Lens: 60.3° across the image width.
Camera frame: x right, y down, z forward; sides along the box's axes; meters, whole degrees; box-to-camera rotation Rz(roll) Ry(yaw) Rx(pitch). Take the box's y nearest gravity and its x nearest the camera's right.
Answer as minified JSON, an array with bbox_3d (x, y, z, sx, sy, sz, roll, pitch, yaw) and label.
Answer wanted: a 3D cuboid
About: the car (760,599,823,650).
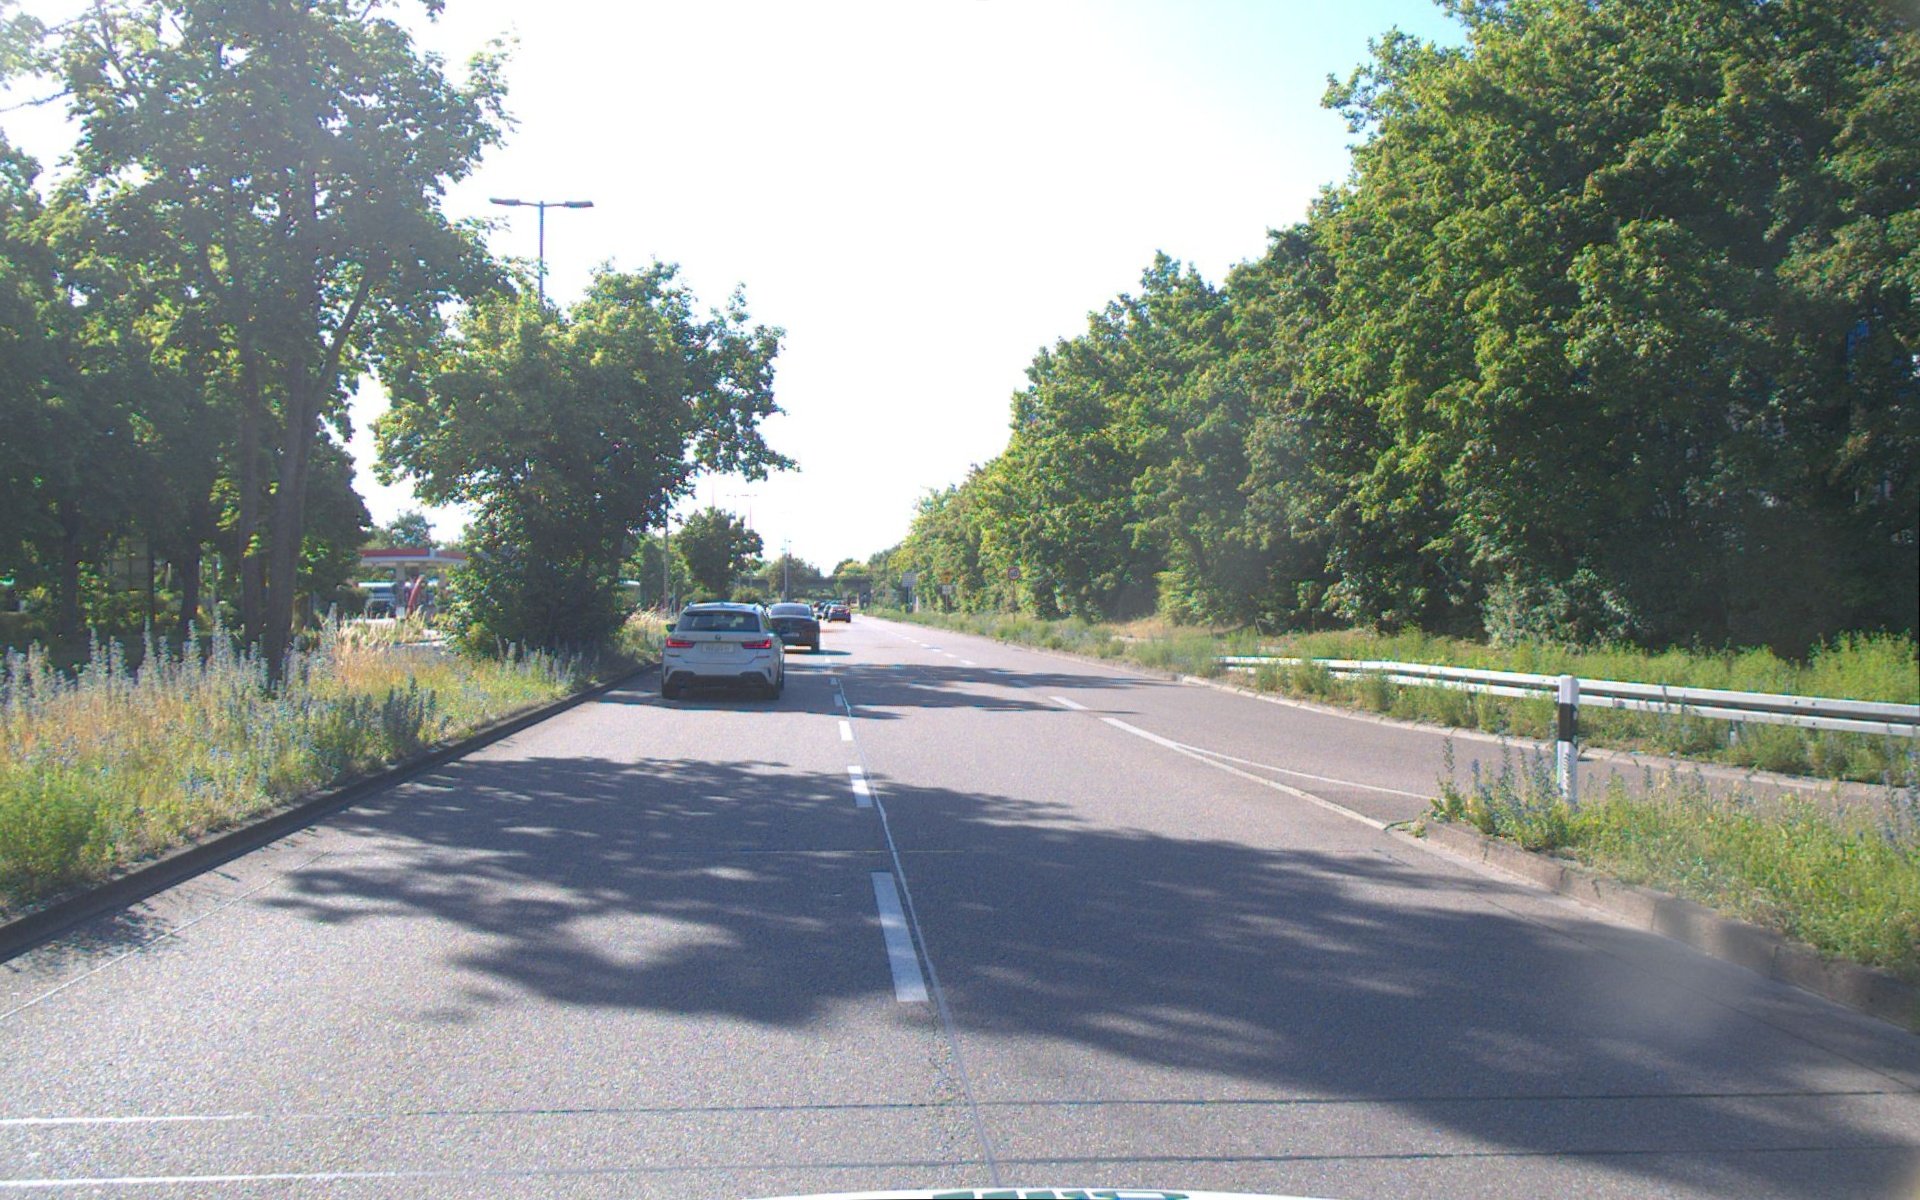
[{"bbox_3d":[-5.173,0.728,51.034,1.825,1.480,4.542,-1,0,-5],"label":"car"}]

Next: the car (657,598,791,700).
[{"bbox_3d":[-3.695,0.720,26.576,1.825,1.480,4.543,1,0,-5],"label":"car"}]

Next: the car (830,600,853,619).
[{"bbox_3d":[-9.873,0.786,137.797,1.825,1.525,4.331,0,0,-5],"label":"car"}]

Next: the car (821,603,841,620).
[{"bbox_3d":[-12.499,1.079,160.049,1.738,1.583,3.827,-1,0,-7],"label":"car"}]

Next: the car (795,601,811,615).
[{"bbox_3d":[-18.141,0.881,191.569,1.825,1.592,4.542,0,0,-5],"label":"car"}]
